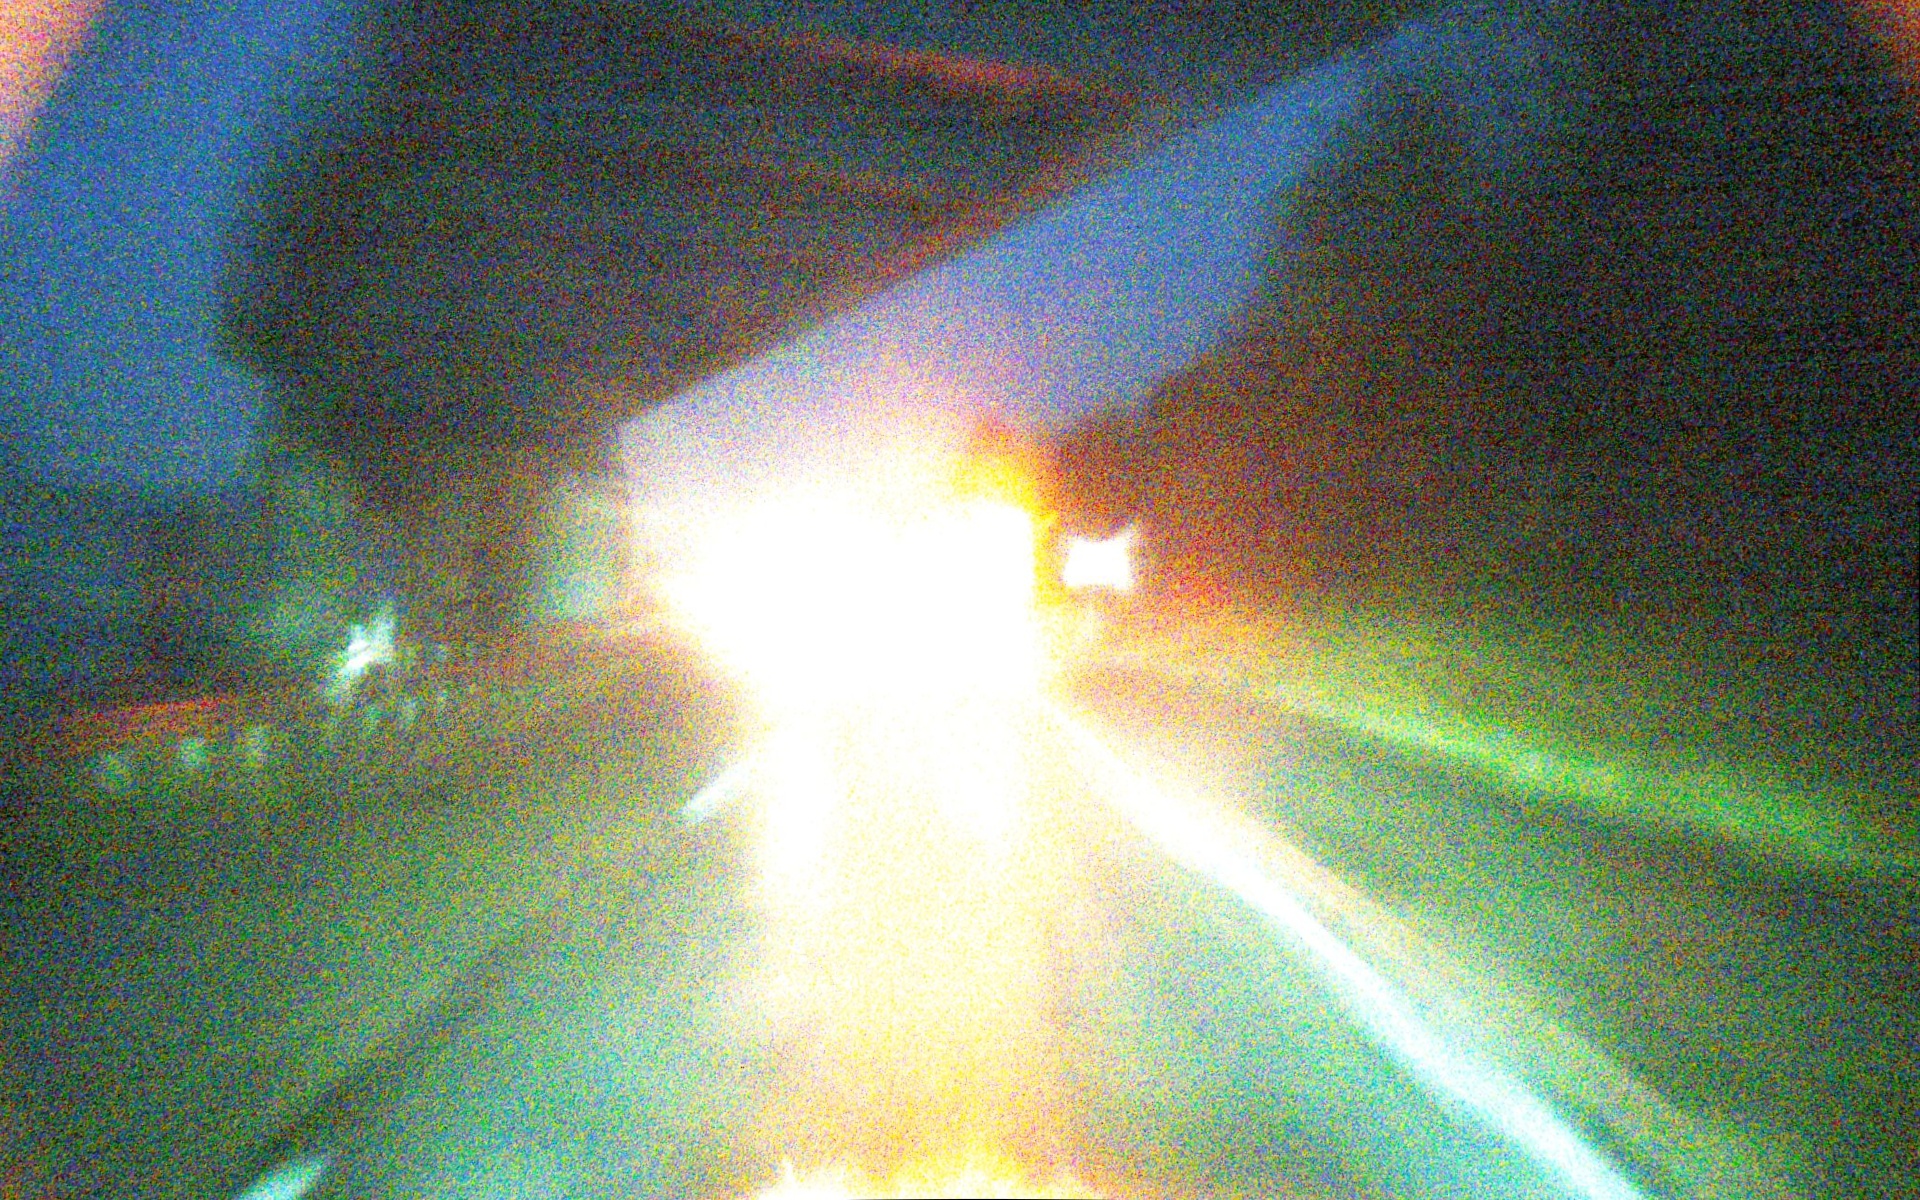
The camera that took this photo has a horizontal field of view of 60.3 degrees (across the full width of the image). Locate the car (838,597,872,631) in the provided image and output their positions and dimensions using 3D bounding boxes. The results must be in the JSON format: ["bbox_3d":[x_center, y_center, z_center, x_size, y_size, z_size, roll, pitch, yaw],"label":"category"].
[{"bbox_3d":[-6.538,0.850,102.941,1.954,1.948,3.996,3,-1,-4],"label":"car"}]

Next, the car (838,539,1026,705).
[{"bbox_3d":[-0.533,0.310,26.538,2.661,2.348,6.097,0,0,-3],"label":"car"}]

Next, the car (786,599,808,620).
[{"bbox_3d":[-13.437,0.759,136.479,1.826,1.571,4.225,-1,1,-5],"label":"car"}]
